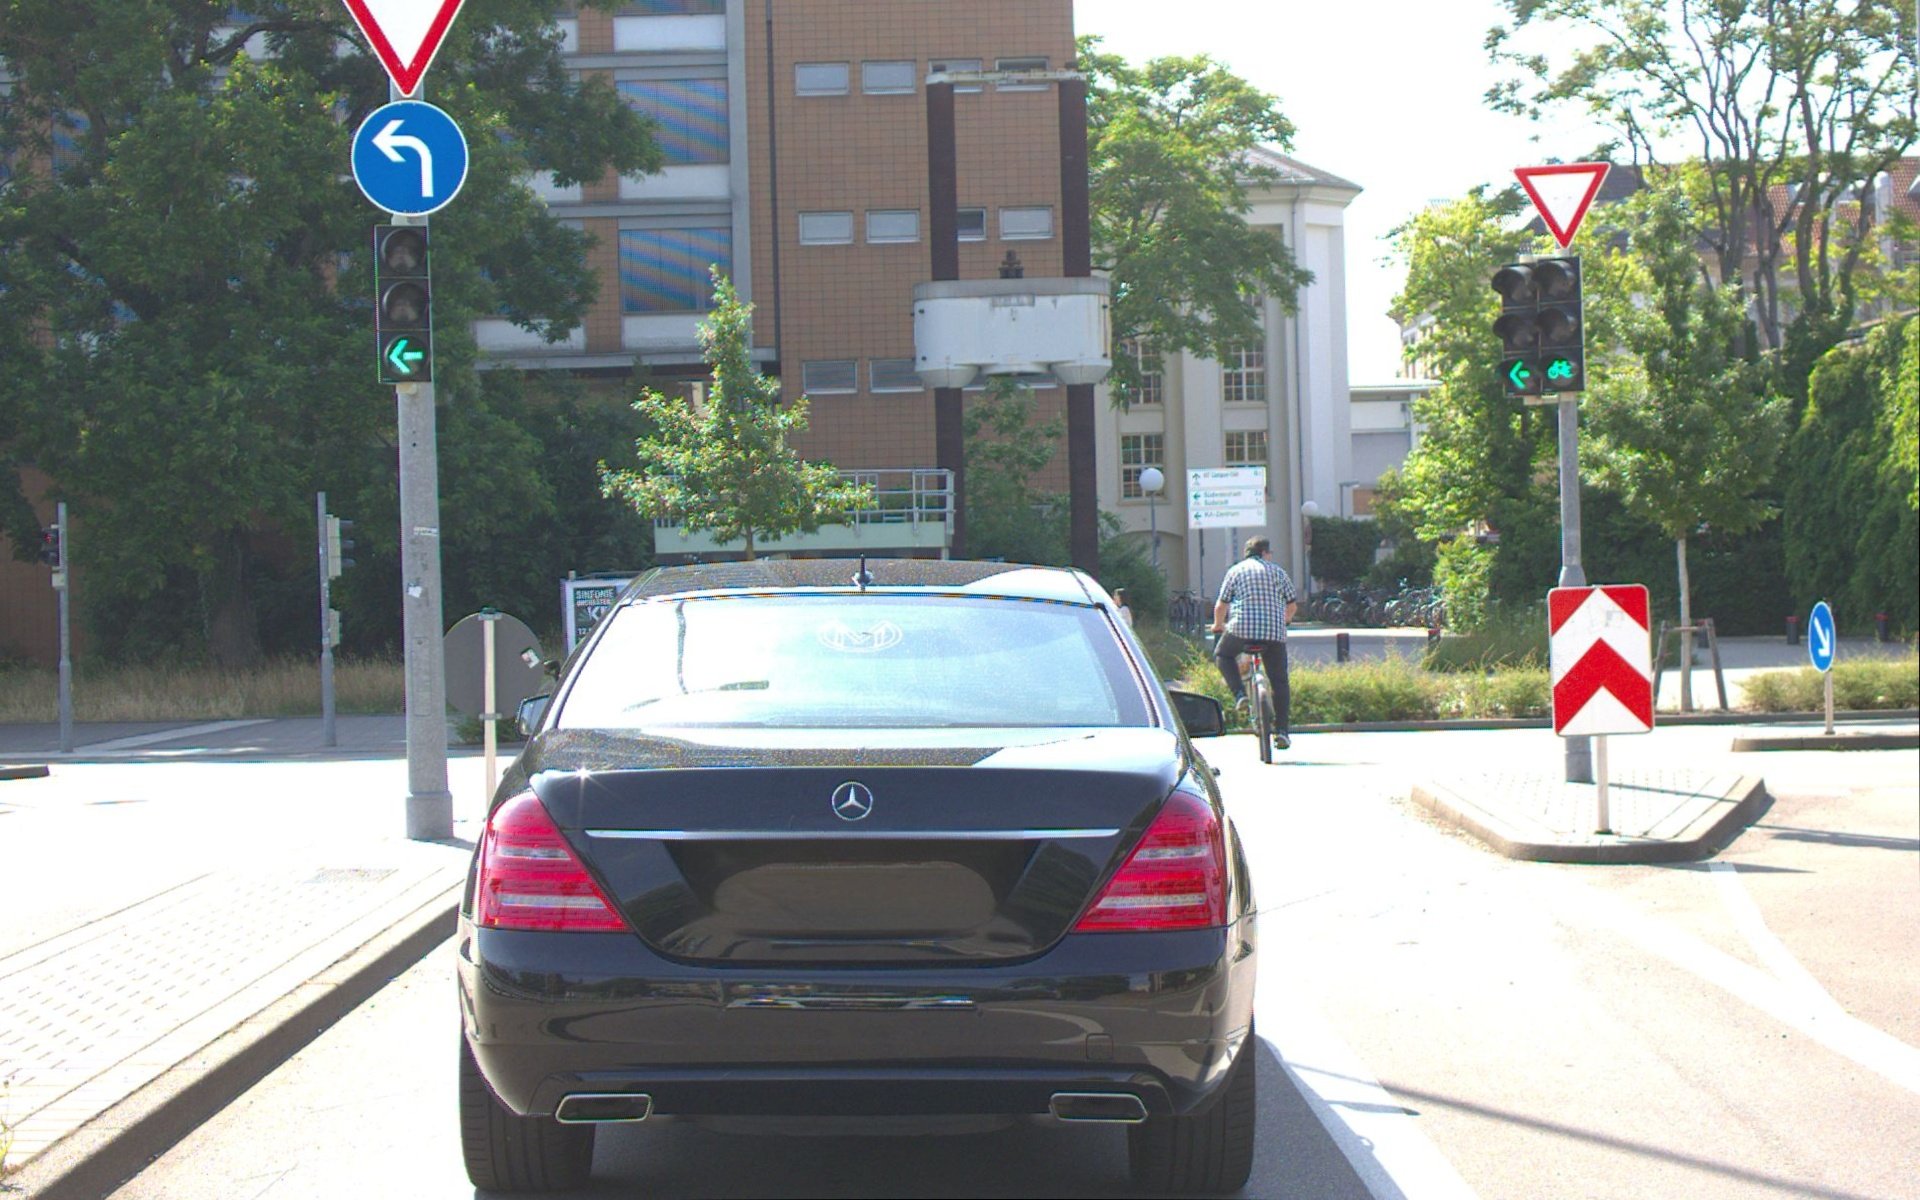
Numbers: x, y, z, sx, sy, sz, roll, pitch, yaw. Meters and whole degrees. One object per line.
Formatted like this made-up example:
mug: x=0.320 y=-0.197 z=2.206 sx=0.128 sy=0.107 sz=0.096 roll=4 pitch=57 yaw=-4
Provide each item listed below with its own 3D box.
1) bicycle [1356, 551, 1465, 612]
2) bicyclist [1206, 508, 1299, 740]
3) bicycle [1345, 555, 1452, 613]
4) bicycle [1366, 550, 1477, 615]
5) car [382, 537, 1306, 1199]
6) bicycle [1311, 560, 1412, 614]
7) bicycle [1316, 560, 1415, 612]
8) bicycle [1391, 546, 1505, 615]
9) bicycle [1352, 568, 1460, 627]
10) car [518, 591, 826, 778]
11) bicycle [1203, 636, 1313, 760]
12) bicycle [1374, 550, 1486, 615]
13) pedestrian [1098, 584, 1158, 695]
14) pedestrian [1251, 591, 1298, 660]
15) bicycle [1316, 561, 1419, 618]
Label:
bicycle: x=12.325 y=-0.506 z=94.036 sx=2.823 sy=1.581 sz=0.842 roll=-2 pitch=0 yaw=-1
bicyclist: x=2.397 y=0.192 z=28.244 sx=0.686 sy=1.872 sz=0.860 roll=0 pitch=0 yaw=0
bicycle: x=12.244 y=-0.448 z=95.945 sx=2.823 sy=1.502 sz=0.842 roll=-2 pitch=0 yaw=-1
bicycle: x=12.477 y=-0.481 z=92.925 sx=2.823 sy=1.653 sz=0.842 roll=-2 pitch=2 yaw=-1
car: x=-0.270 y=0.638 z=9.311 sx=1.858 sy=1.525 sz=4.714 roll=0 pitch=0 yaw=-1
bicycle: x=11.825 y=-0.390 z=101.229 sx=2.823 sy=1.495 sz=0.842 roll=-2 pitch=0 yaw=-1
bicycle: x=12.112 y=-0.421 z=102.708 sx=2.823 sy=1.475 sz=0.841 roll=-2 pitch=0 yaw=0
bicycle: x=12.851 y=-0.514 z=90.512 sx=2.823 sy=1.738 sz=0.842 roll=-2 pitch=0 yaw=-1
bicycle: x=12.340 y=-0.082 z=95.098 sx=2.823 sy=1.532 sz=0.842 roll=-2 pitch=0 yaw=-1
car: x=-2.619 y=0.748 z=30.379 sx=1.794 sy=1.505 sz=4.001 roll=-1 pitch=-1 yaw=-18
bicycle: x=2.406 y=0.777 z=27.912 sx=0.692 sy=0.943 sz=1.958 roll=1 pitch=0 yaw=0
bicycle: x=12.552 y=-0.467 z=91.928 sx=2.823 sy=1.643 sz=0.842 roll=-2 pitch=0 yaw=-1
pedestrian: x=2.445 y=0.574 z=50.189 sx=0.811 sy=1.574 sz=0.692 roll=-2 pitch=0 yaw=2
pedestrian: x=5.542 y=0.448 z=60.534 sx=0.793 sy=1.209 sz=0.757 roll=1 pitch=0 yaw=6
bicycle: x=11.720 y=-0.298 z=98.938 sx=2.823 sy=1.553 sz=0.842 roll=-2 pitch=0 yaw=-1
